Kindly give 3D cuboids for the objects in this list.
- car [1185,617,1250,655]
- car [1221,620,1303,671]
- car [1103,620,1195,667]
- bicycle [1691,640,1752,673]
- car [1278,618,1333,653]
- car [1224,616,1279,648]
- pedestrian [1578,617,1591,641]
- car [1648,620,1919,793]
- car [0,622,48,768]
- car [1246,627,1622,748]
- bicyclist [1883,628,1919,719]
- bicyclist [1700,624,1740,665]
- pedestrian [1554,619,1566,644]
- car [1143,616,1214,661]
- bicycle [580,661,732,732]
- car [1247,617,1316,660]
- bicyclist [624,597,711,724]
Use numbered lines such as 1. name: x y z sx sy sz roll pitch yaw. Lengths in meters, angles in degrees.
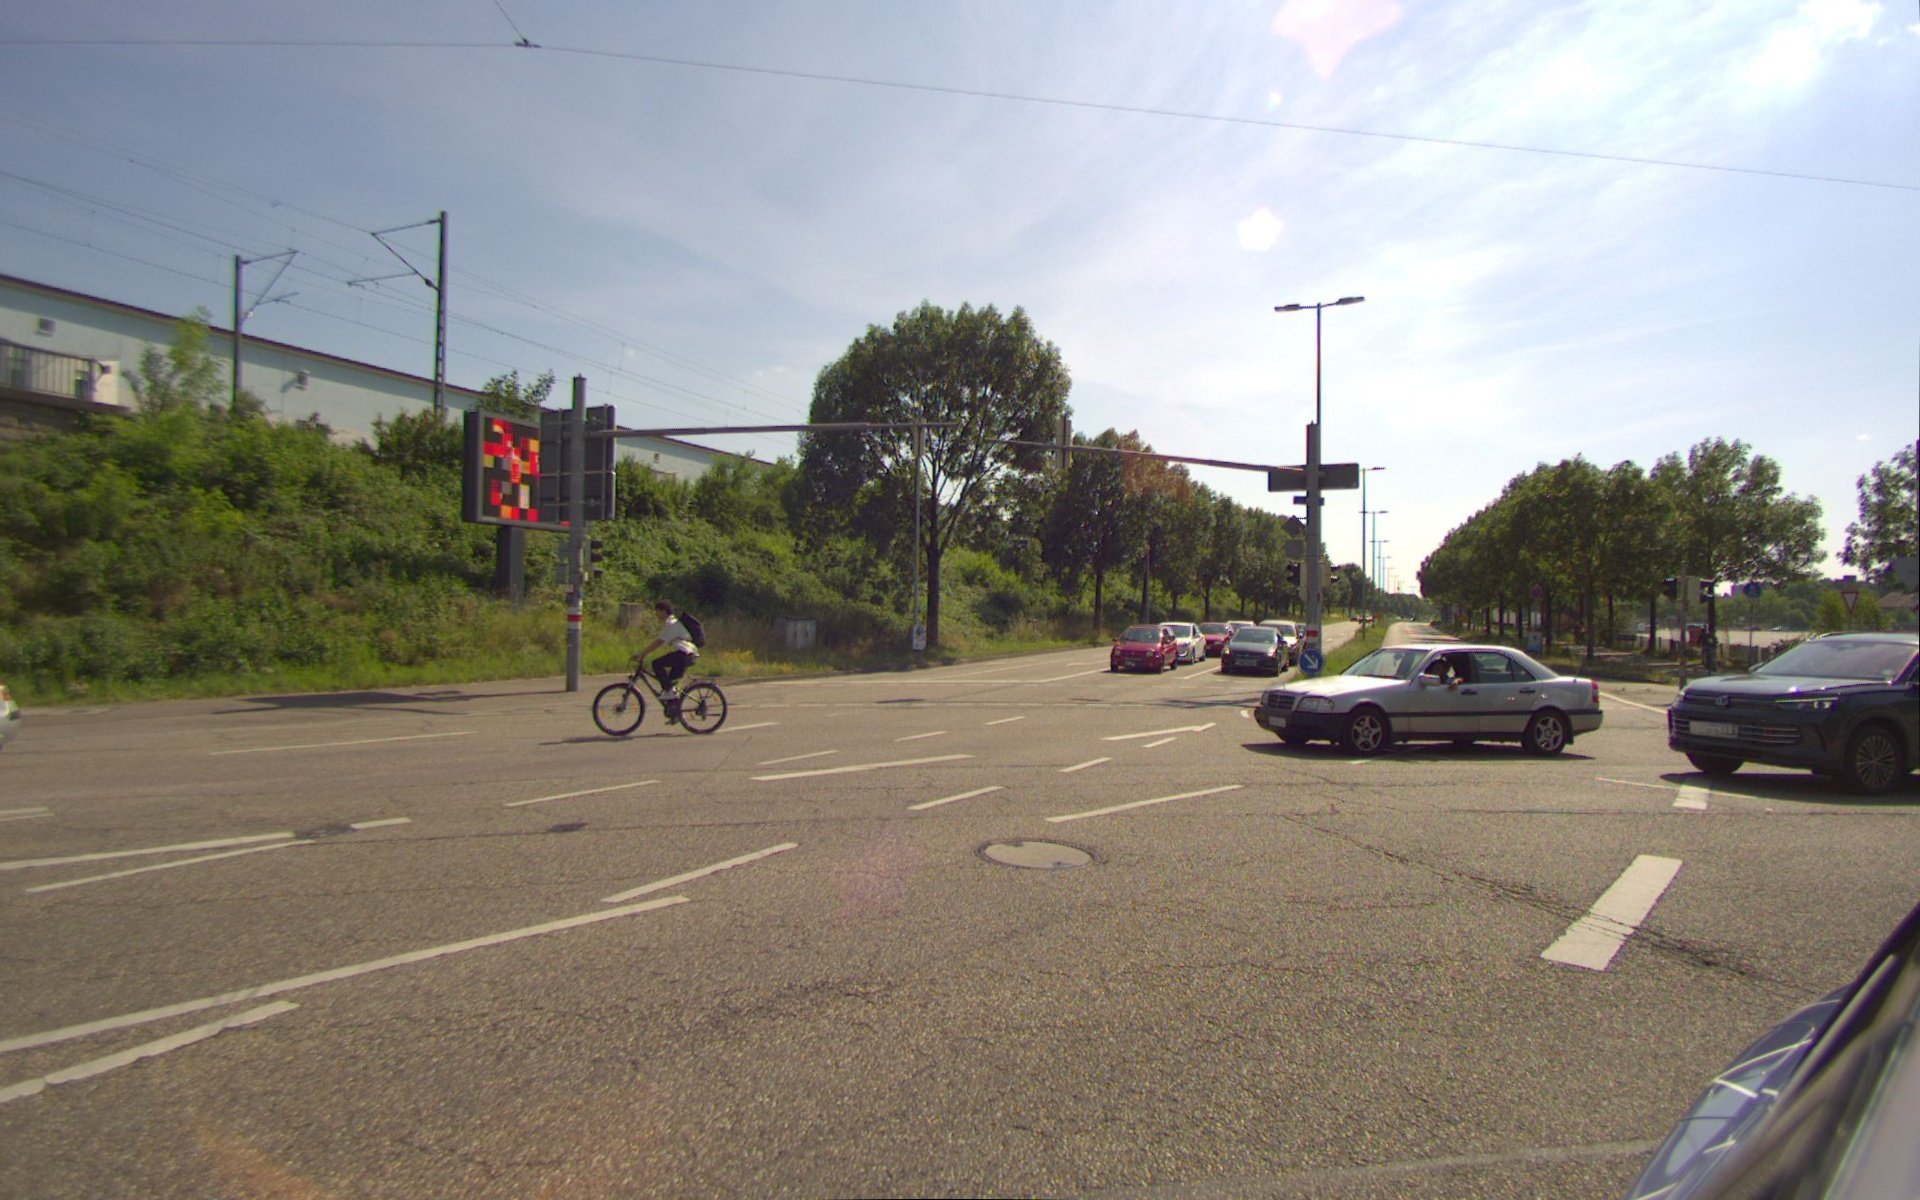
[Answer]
1. car: 10.968 1.524 42.940 1.701 1.528 3.957 -1 -3 29
2. car: 9.670 1.450 32.248 1.701 1.528 3.957 -1 -3 29
3. car: 6.029 1.373 32.033 1.701 1.411 3.957 -1 -3 29
4. bicycle: 28.070 2.055 37.369 0.872 1.073 2.757 0 -1 17
5. car: 15.933 1.633 46.528 1.701 1.528 3.957 -1 -3 29
6. car: 14.225 1.582 49.236 1.701 1.528 3.957 -1 -3 29
7. pedestrian: 41.631 1.932 67.454 0.572 1.544 0.873 0 -1 22
8. car: 10.470 1.059 11.103 4.871 1.628 1.952 1 -1 -11
9. car: -11.499 0.925 9.628 3.812 1.470 1.719 1 -2 -11
10. car: 6.188 1.092 13.353 4.348 1.409 1.719 1 -1 -13
11. bicyclist: 17.204 1.310 18.148 0.890 1.586 0.548 1 -1 -12
12. bicyclist: 28.064 1.621 37.374 0.872 1.461 0.961 0 -1 17
13. pedestrian: 41.291 2.160 69.653 0.624 1.731 0.762 0 -1 23
14. car: 8.019 1.414 36.859 1.698 1.528 3.964 -1 -3 25
15. bicycle: -4.046 1.285 13.637 1.886 0.904 0.819 1 -3 -13
16. car: 12.272 1.480 38.498 1.701 1.528 4.166 -1 -3 29
17. bicyclist: -3.935 0.813 13.684 1.046 1.655 0.807 1 -3 -12
